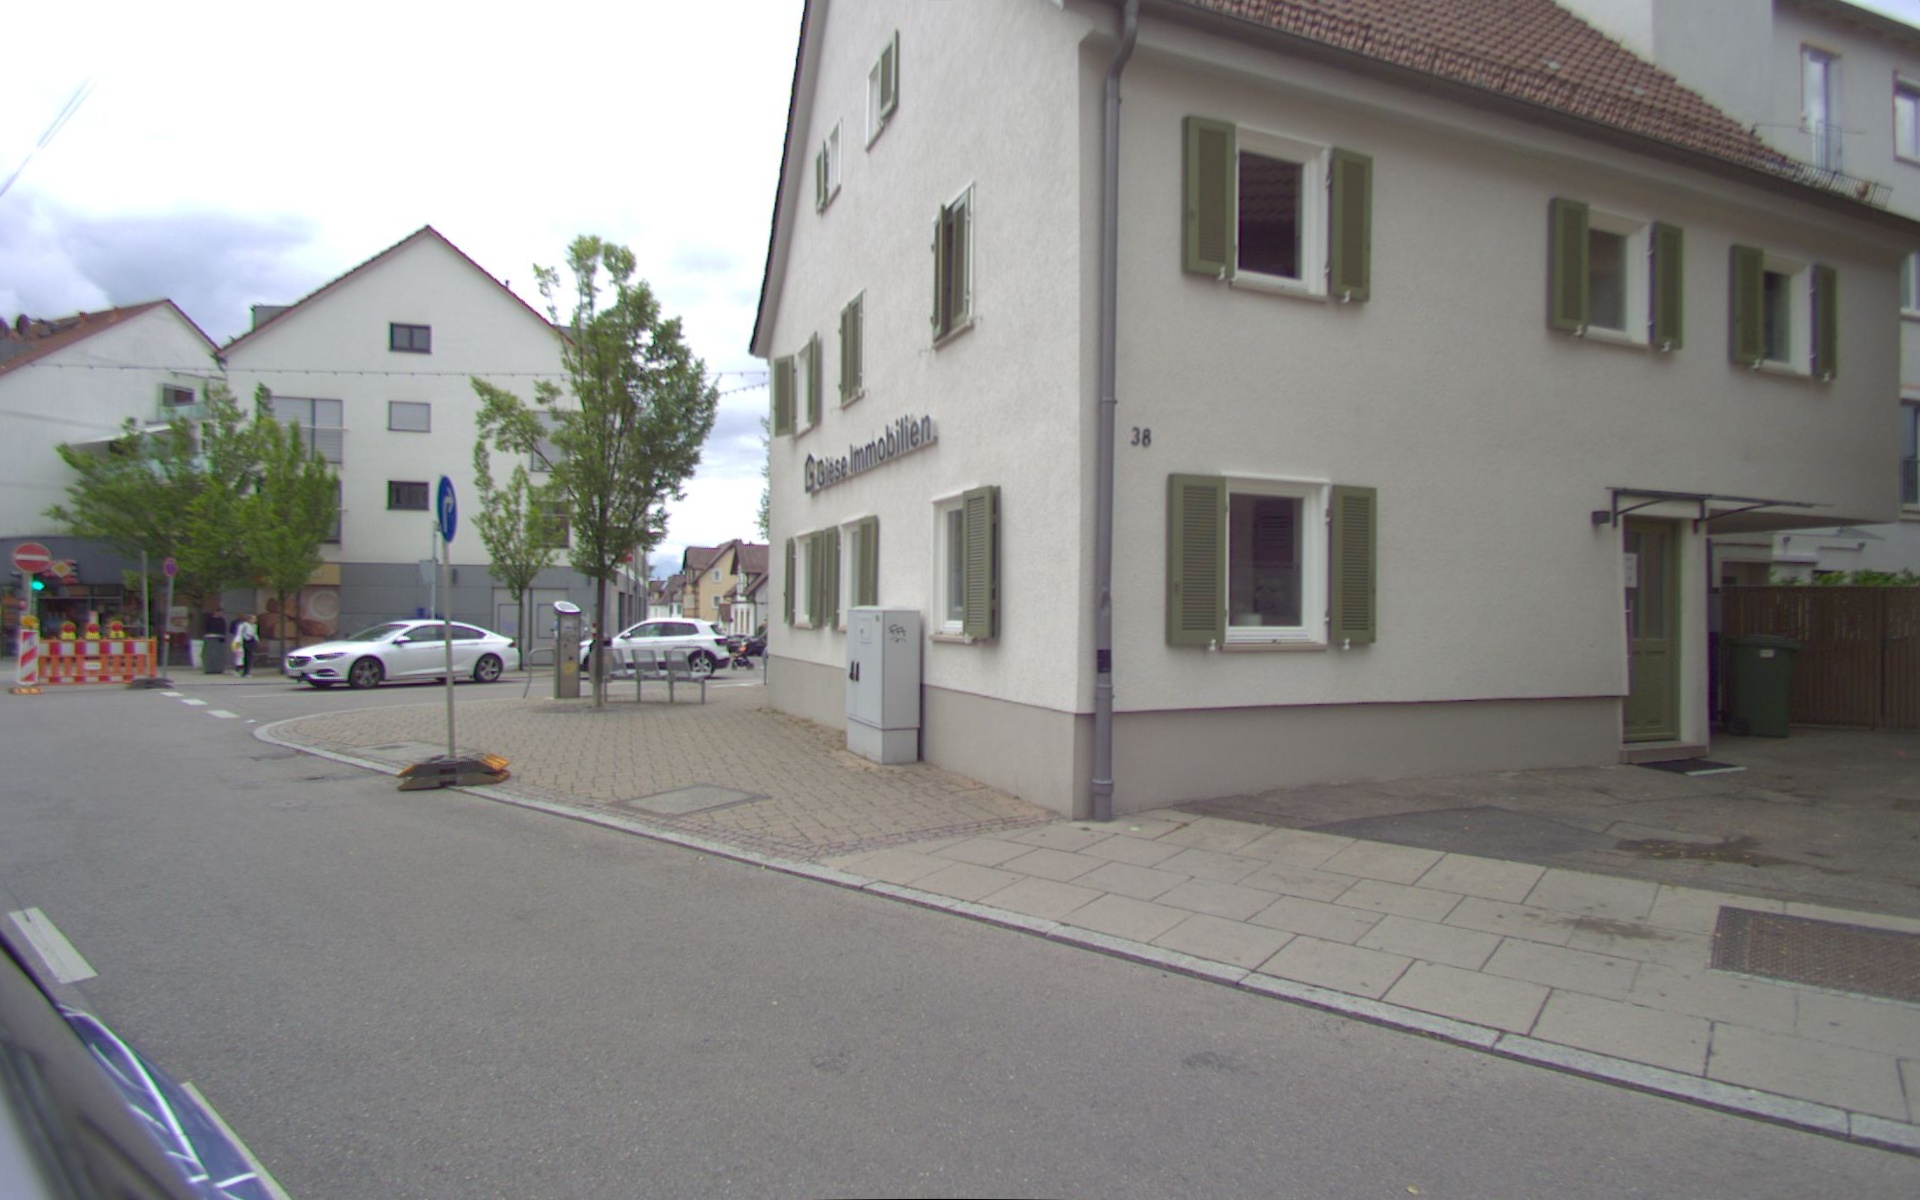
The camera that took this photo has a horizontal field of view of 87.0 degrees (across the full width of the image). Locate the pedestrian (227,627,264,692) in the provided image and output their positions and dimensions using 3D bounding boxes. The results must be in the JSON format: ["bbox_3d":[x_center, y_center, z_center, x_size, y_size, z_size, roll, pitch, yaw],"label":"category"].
[{"bbox_3d":[-18.147,1.492,25.703,0.672,1.604,0.880,2,-3,-40],"label":"pedestrian"}]

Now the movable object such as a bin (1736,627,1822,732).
[{"bbox_3d":[8.560,0.806,10.572,0.647,0.988,0.848,-2,1,41],"label":"movable object such as a bin"}]

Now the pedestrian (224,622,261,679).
[{"bbox_3d":[-23.037,1.613,32.499,0.708,1.804,0.694,-1,-2,-1],"label":"pedestrian"}]

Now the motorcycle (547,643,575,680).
[{"bbox_3d":[-13.797,2.121,35.063,0.564,1.157,1.791,-3,0,-12],"label":"motorcycle"}]

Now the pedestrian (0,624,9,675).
[{"bbox_3d":[-32.725,1.660,34.075,0.812,1.726,0.826,-2,-2,30],"label":"pedestrian"}]

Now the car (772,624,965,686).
[{"bbox_3d":[-2.500,1.487,27.752,4.882,1.569,2.008,-1,-1,21],"label":"car"}]

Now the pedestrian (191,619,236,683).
[{"bbox_3d":[-23.143,1.578,31.402,0.774,1.940,0.816,-1,-2,3],"label":"pedestrian"}]

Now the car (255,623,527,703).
[{"bbox_3d":[-12.478,1.314,22.555,2.240,1.488,4.870,-2,-1,29],"label":"car"}]

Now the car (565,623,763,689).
[{"bbox_3d":[-7.703,1.431,26.779,4.838,1.569,2.026,-1,-1,-11],"label":"car"}]
